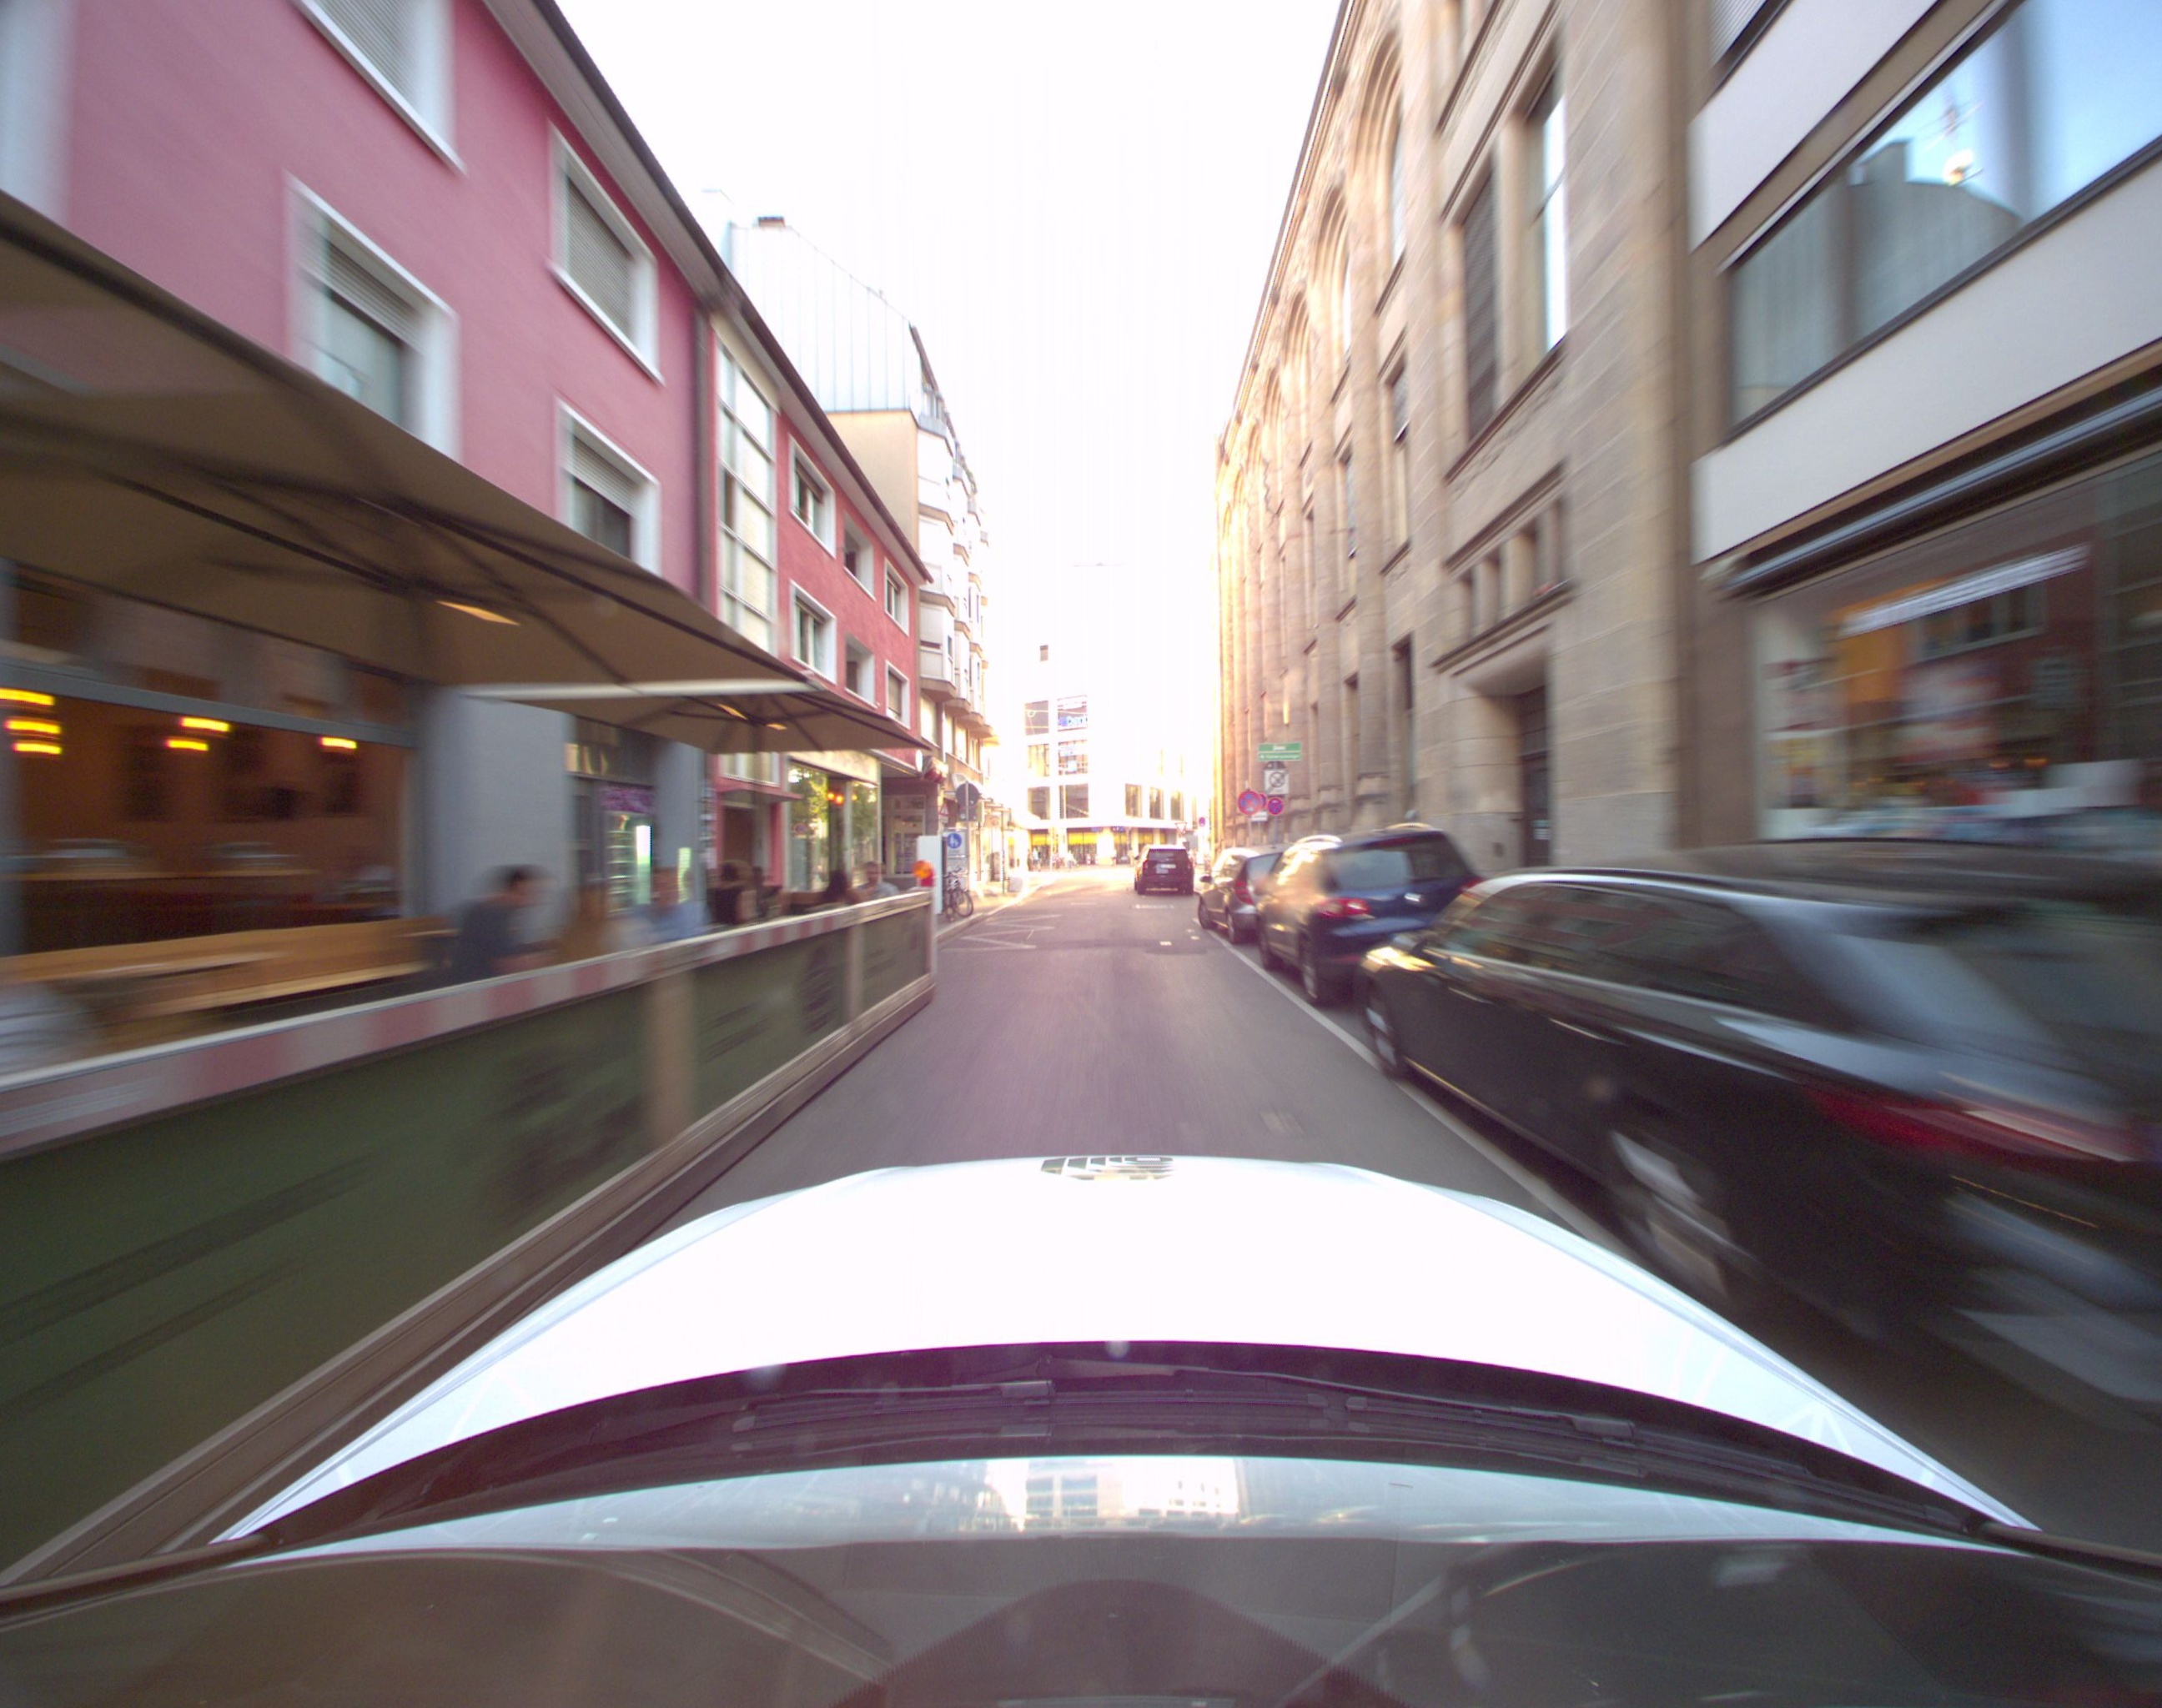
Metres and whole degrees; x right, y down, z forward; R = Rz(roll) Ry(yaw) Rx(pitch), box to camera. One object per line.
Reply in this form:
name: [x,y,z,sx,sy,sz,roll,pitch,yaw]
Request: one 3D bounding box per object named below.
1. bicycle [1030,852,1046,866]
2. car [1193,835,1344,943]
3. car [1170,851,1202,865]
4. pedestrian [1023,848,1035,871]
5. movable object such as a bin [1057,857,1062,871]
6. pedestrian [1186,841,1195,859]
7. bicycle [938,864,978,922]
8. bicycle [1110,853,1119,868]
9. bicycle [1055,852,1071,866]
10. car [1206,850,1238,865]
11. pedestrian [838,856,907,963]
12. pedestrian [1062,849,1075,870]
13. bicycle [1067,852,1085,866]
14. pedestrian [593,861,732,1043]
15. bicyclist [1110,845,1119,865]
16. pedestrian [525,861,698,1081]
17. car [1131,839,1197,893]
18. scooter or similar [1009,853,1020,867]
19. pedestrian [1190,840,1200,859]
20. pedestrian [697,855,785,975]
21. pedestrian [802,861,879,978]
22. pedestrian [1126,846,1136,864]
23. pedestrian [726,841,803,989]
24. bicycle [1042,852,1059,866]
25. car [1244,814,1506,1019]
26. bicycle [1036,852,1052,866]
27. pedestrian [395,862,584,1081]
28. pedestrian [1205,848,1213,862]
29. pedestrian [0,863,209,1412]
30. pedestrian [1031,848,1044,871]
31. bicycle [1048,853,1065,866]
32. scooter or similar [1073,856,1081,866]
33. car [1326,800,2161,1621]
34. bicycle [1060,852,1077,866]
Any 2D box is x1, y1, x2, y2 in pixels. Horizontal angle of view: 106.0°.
bicycle: [-4.006,0.486,75.956,0.507,1.255,1.991,-1,-1,31]
car: [3.248,0.549,14.890,1.768,1.666,3.998,-1,0,-1]
car: [11.387,0.457,88.072,1.760,1.453,4.257,-1,0,31]
pedestrian: [-3.776,0.398,59.073,0.728,1.613,0.807,-1,-1,10]
movable object such as a bin: [-1.625,0.746,61.020,0.359,1.063,0.355,-1,-1,-9]
pedestrian: [9.889,-0.362,73.627,0.697,1.670,0.645,-1,1,19]
bicycle: [-2.707,0.827,18.068,0.542,1.192,1.843,-1,0,1]
bicycle: [2.867,0.541,70.101,0.609,1.255,1.977,0,-1,-2]
bicycle: [-1.670,0.488,74.445,0.507,1.255,1.991,-1,-1,29]
car: [16.549,0.389,95.416,1.865,1.598,4.719,-1,0,35]
pedestrian: [-2.147,0.558,8.421,0.609,1.063,0.546,0,-1,-6]
pedestrian: [-0.970,0.425,63.062,0.807,1.613,0.728,-1,-1,-27]
bicycle: [-0.419,0.434,73.828,0.657,1.255,2.154,-1,-1,29]
pedestrian: [-2.589,0.578,5.089,0.609,1.063,0.546,0,-1,-6]
bicyclist: [2.872,0.078,69.838,0.680,1.695,0.644,-1,0,-2]
pedestrian: [-2.424,0.570,4.266,0.609,1.063,0.546,0,-1,-6]
car: [2.951,0.405,30.033,1.987,1.783,4.935,-1,0,1]
scooter or similar: [-6.086,0.512,74.485,0.383,1.260,1.279,-1,-1,31]
pedestrian: [10.162,-0.395,72.647,0.697,1.670,0.645,-1,1,19]
pedestrian: [-3.135,0.546,7.549,0.609,1.063,0.546,0,-1,-6]
pedestrian: [-2.261,0.597,7.709,0.609,1.063,0.546,0,-1,-6]
pedestrian: [5.023,0.120,81.919,0.665,1.744,0.651,-1,-1,33]
pedestrian: [-3.260,0.610,8.418,0.609,1.472,0.546,0,-1,-6]
bicycle: [-2.793,0.491,75.220,0.507,1.255,1.991,-1,-1,31]
car: [3.024,0.545,9.328,1.663,1.806,4.242,0,0,3]
bicycle: [-3.439,0.492,75.655,0.507,1.255,1.991,-1,-1,30]
pedestrian: [-3.073,0.575,4.278,0.600,1.063,0.546,0,-1,-6]
pedestrian: [15.611,0.141,99.199,0.665,1.675,0.651,-1,0,30]
pedestrian: [-2.432,0.554,1.685,0.631,1.067,0.559,0,-1,-6]
pedestrian: [-3.223,0.402,59.917,0.727,1.613,0.808,-1,-1,12]
bicycle: [-2.206,0.497,74.750,0.507,1.255,1.991,-1,-1,33]
scooter or similar: [-0.390,0.657,75.434,0.383,0.884,0.775,-1,-1,31]
car: [2.722,0.642,3.991,1.683,1.516,4.993,-1,0,2]
bicycle: [-1.100,0.473,74.168,0.575,1.255,2.057,-1,-1,29]
